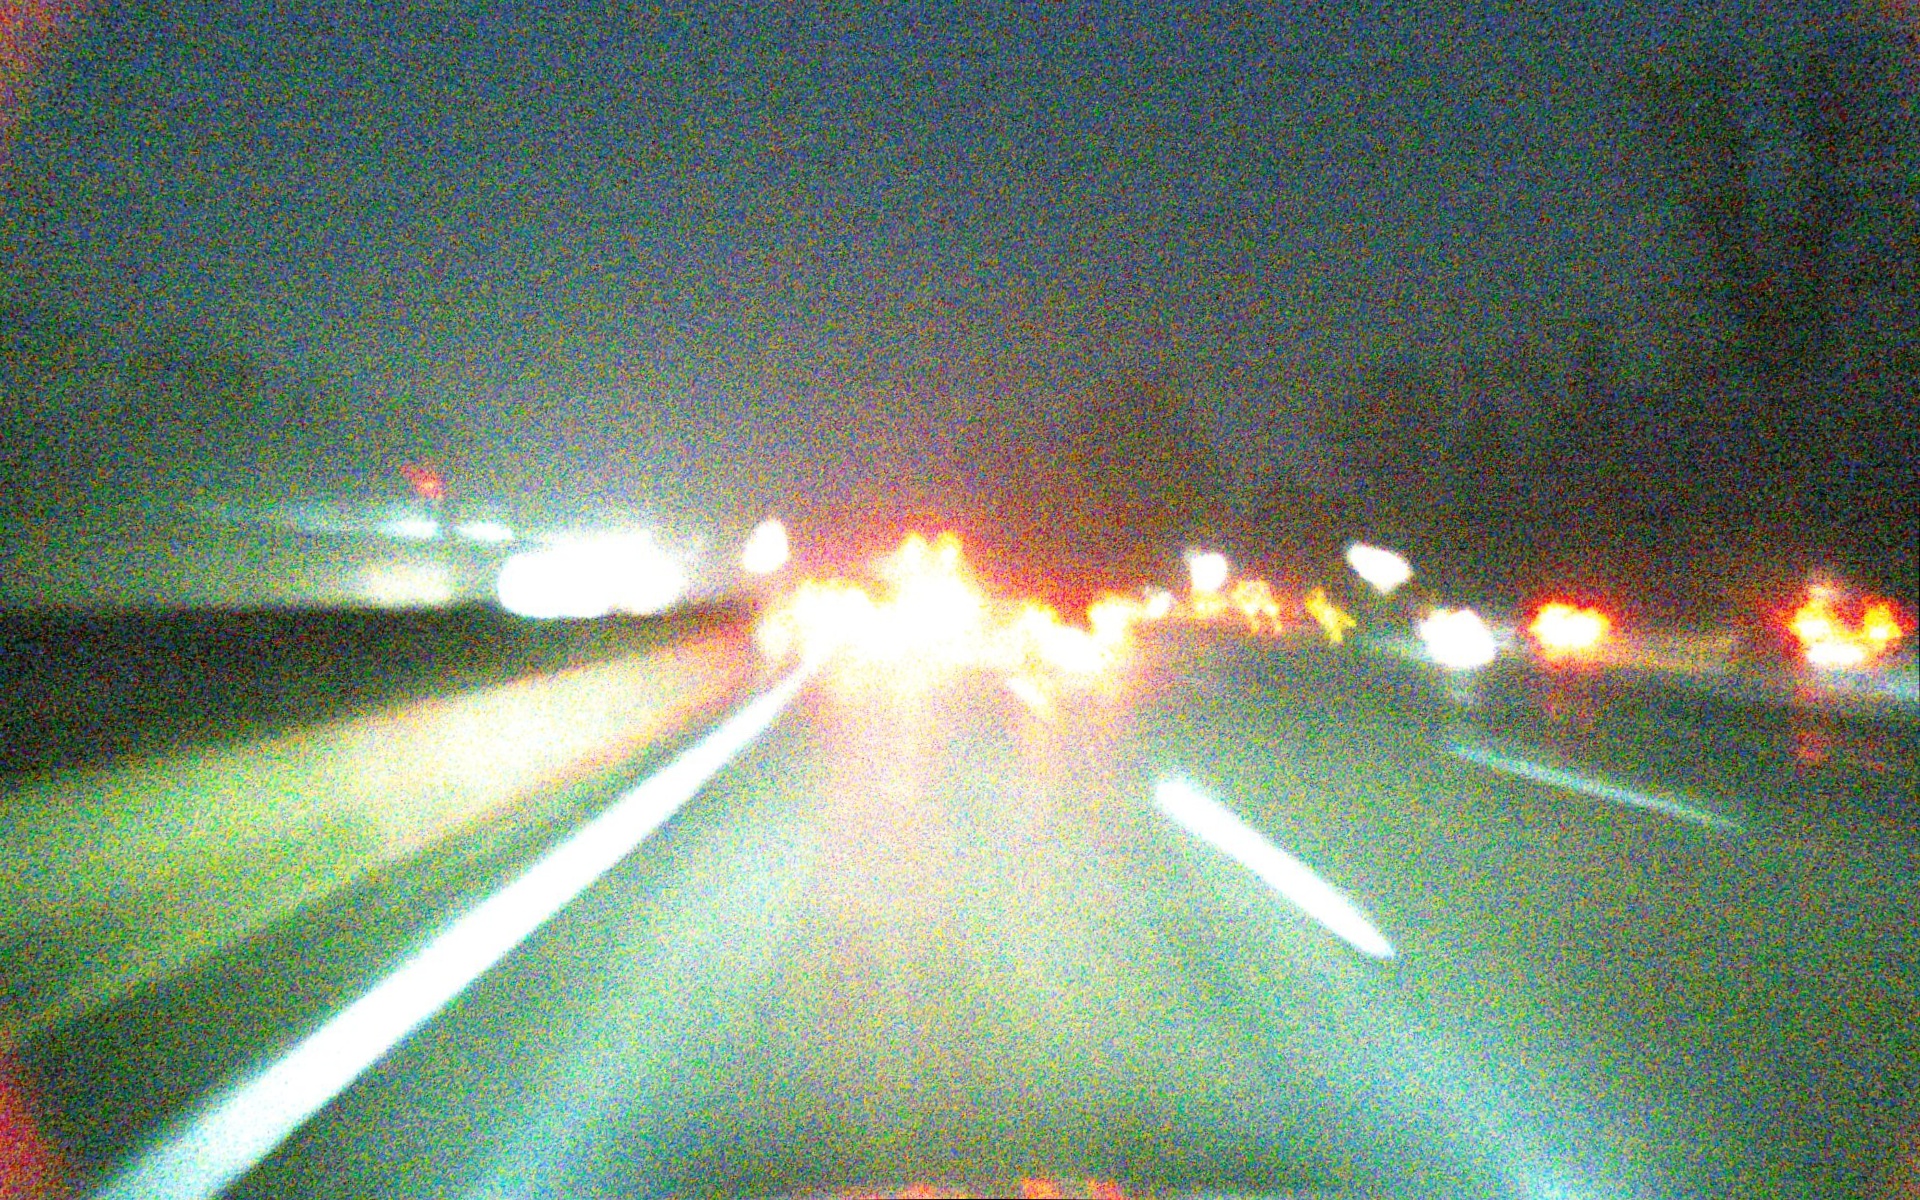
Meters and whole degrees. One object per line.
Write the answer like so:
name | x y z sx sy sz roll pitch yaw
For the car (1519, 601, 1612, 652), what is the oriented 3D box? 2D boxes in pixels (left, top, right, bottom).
car | 21.792 0.926 59.682 1.952 1.628 4.001 3 1 2

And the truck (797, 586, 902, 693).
truck | -2.520 0.801 38.126 2.103 2.113 6.599 3 1 -4

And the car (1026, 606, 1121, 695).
car | 2.275 0.987 34.118 1.763 1.645 4.257 -1 0 1

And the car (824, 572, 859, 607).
car | -7.719 -0.690 107.570 1.956 2.048 3.994 1 2 -8

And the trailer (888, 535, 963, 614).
trailer | -2.436 -1.860 110.965 2.690 4.319 13.343 -4 5 -10

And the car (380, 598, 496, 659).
car | -14.364 0.752 45.712 2.082 1.553 3.998 1 0 -3

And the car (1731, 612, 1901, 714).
car | 19.595 1.390 38.089 2.185 2.048 4.003 2 1 7
